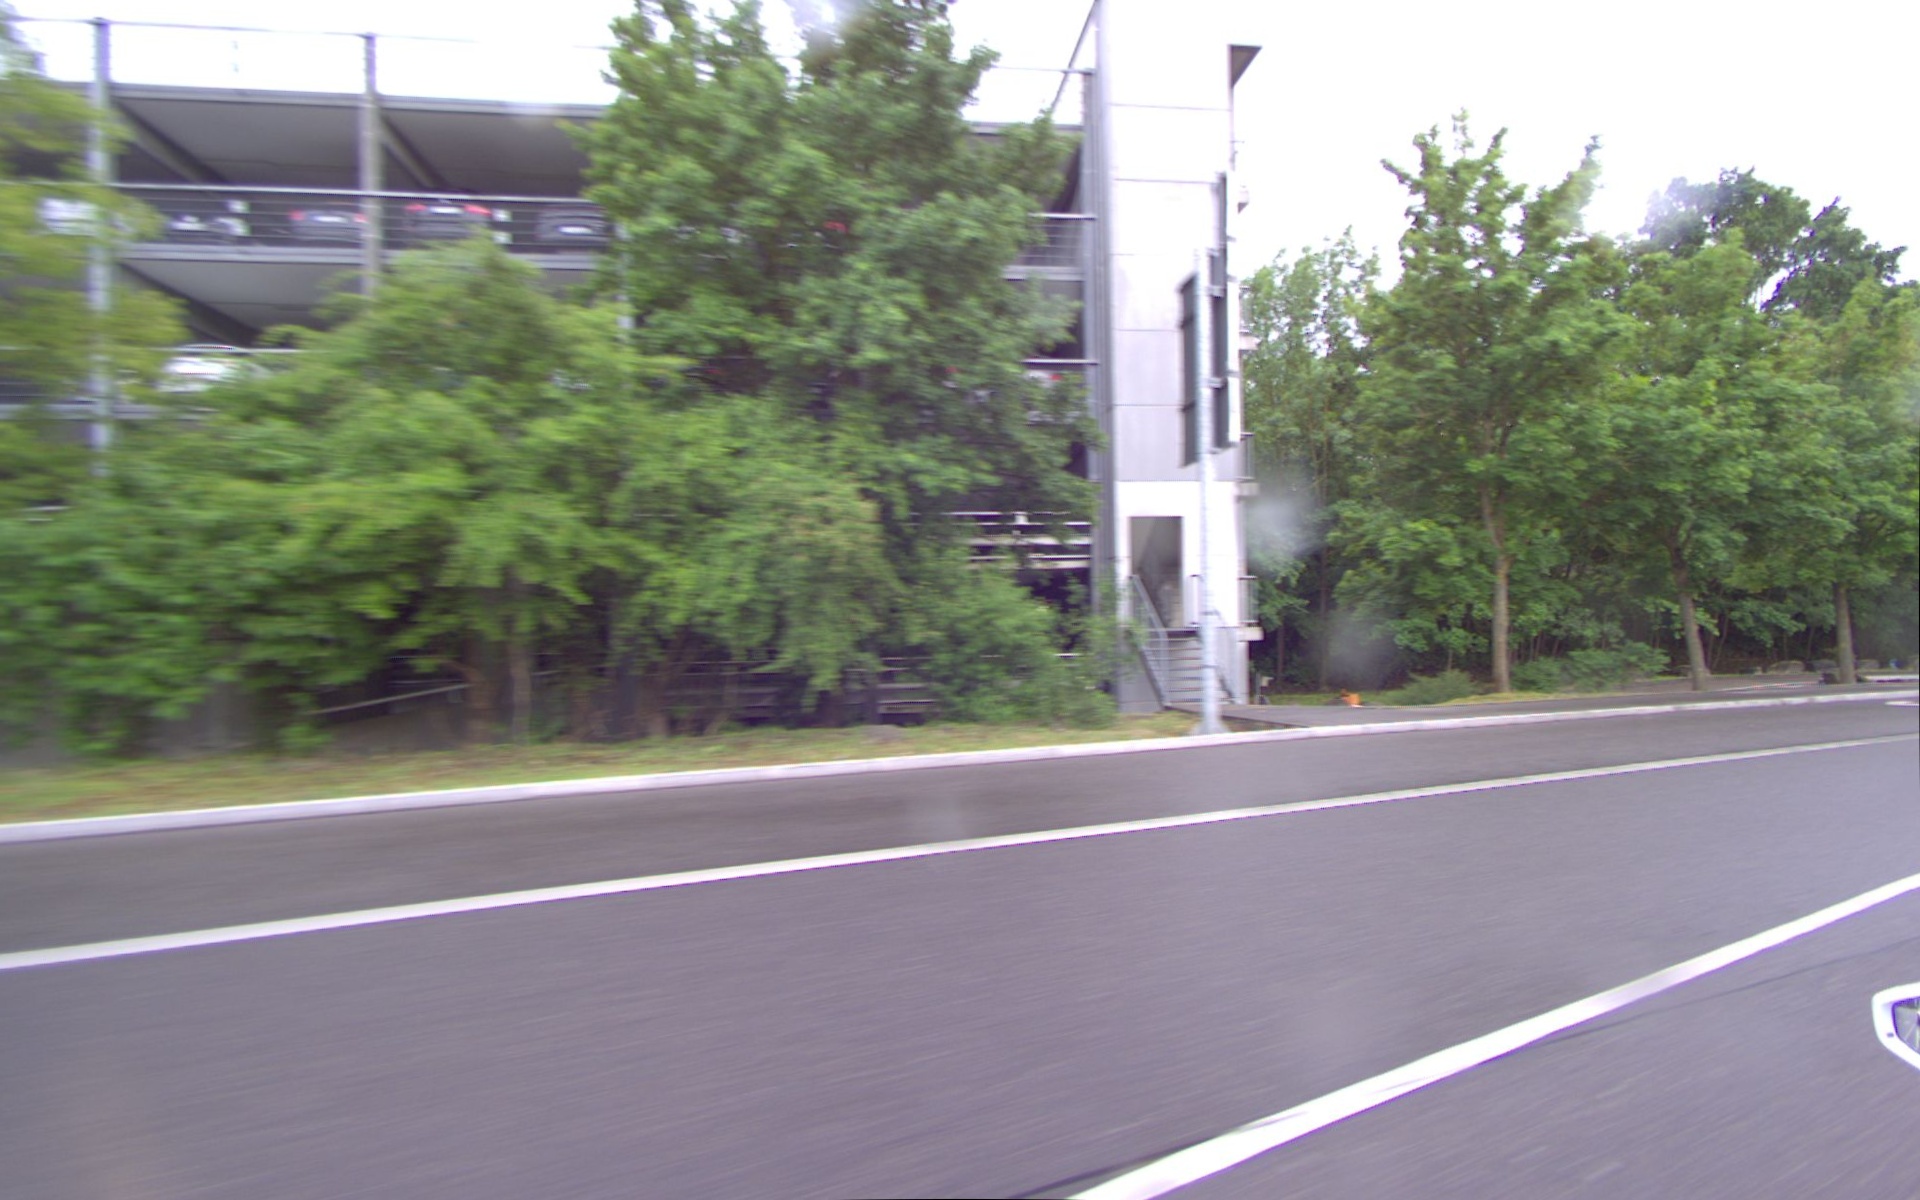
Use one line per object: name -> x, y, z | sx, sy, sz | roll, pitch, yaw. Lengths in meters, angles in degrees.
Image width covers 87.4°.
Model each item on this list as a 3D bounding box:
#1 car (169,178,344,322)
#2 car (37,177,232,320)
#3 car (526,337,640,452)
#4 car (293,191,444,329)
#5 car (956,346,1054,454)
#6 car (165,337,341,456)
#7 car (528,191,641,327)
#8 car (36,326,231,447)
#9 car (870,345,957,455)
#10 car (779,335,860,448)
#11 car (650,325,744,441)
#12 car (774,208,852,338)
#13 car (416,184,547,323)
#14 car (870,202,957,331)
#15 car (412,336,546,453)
car -> -13.961, -6.897, 20.145 | 1.557, 1.539, 3.240 | 0, -3, -9
car -> -16.537, -6.987, 20.324 | 1.557, 1.539, 3.240 | 0, -3, -9
car -> -7.751, -4.185, 20.907 | 1.557, 1.539, 3.240 | 0, -3, -9
car -> -12.099, -6.913, 20.771 | 1.557, 1.539, 3.240 | 0, -3, -9
car -> 0.910, -4.306, 22.083 | 1.557, 1.539, 3.240 | 0, -3, -9
car -> -14.007, -3.971, 20.108 | 1.557, 1.539, 3.240 | 0, -3, -9
car -> -7.760, -7.015, 21.000 | 1.557, 1.539, 3.240 | 0, -3, -9
car -> -16.485, -4.200, 20.237 | 1.557, 1.539, 3.240 | 0, -3, -9
car -> -1.077, -4.264, 21.874 | 1.557, 1.539, 3.240 | 0, -3, -9
car -> -2.984, -4.319, 21.259 | 1.557, 1.539, 3.240 | 0, -3, -9
car -> -5.429, -4.448, 21.066 | 1.557, 1.539, 3.240 | 0, -3, -9
car -> -3.178, -6.955, 21.702 | 1.557, 1.539, 3.240 | 0, -3, -9
car -> -9.777, -7.042, 20.767 | 1.557, 1.539, 3.240 | 0, -3, -9
car -> -1.084, -7.194, 22.004 | 1.557, 1.539, 3.240 | 0, -3, -9
car -> -9.728, -4.110, 20.552 | 1.557, 1.539, 3.240 | 0, -3, -9
